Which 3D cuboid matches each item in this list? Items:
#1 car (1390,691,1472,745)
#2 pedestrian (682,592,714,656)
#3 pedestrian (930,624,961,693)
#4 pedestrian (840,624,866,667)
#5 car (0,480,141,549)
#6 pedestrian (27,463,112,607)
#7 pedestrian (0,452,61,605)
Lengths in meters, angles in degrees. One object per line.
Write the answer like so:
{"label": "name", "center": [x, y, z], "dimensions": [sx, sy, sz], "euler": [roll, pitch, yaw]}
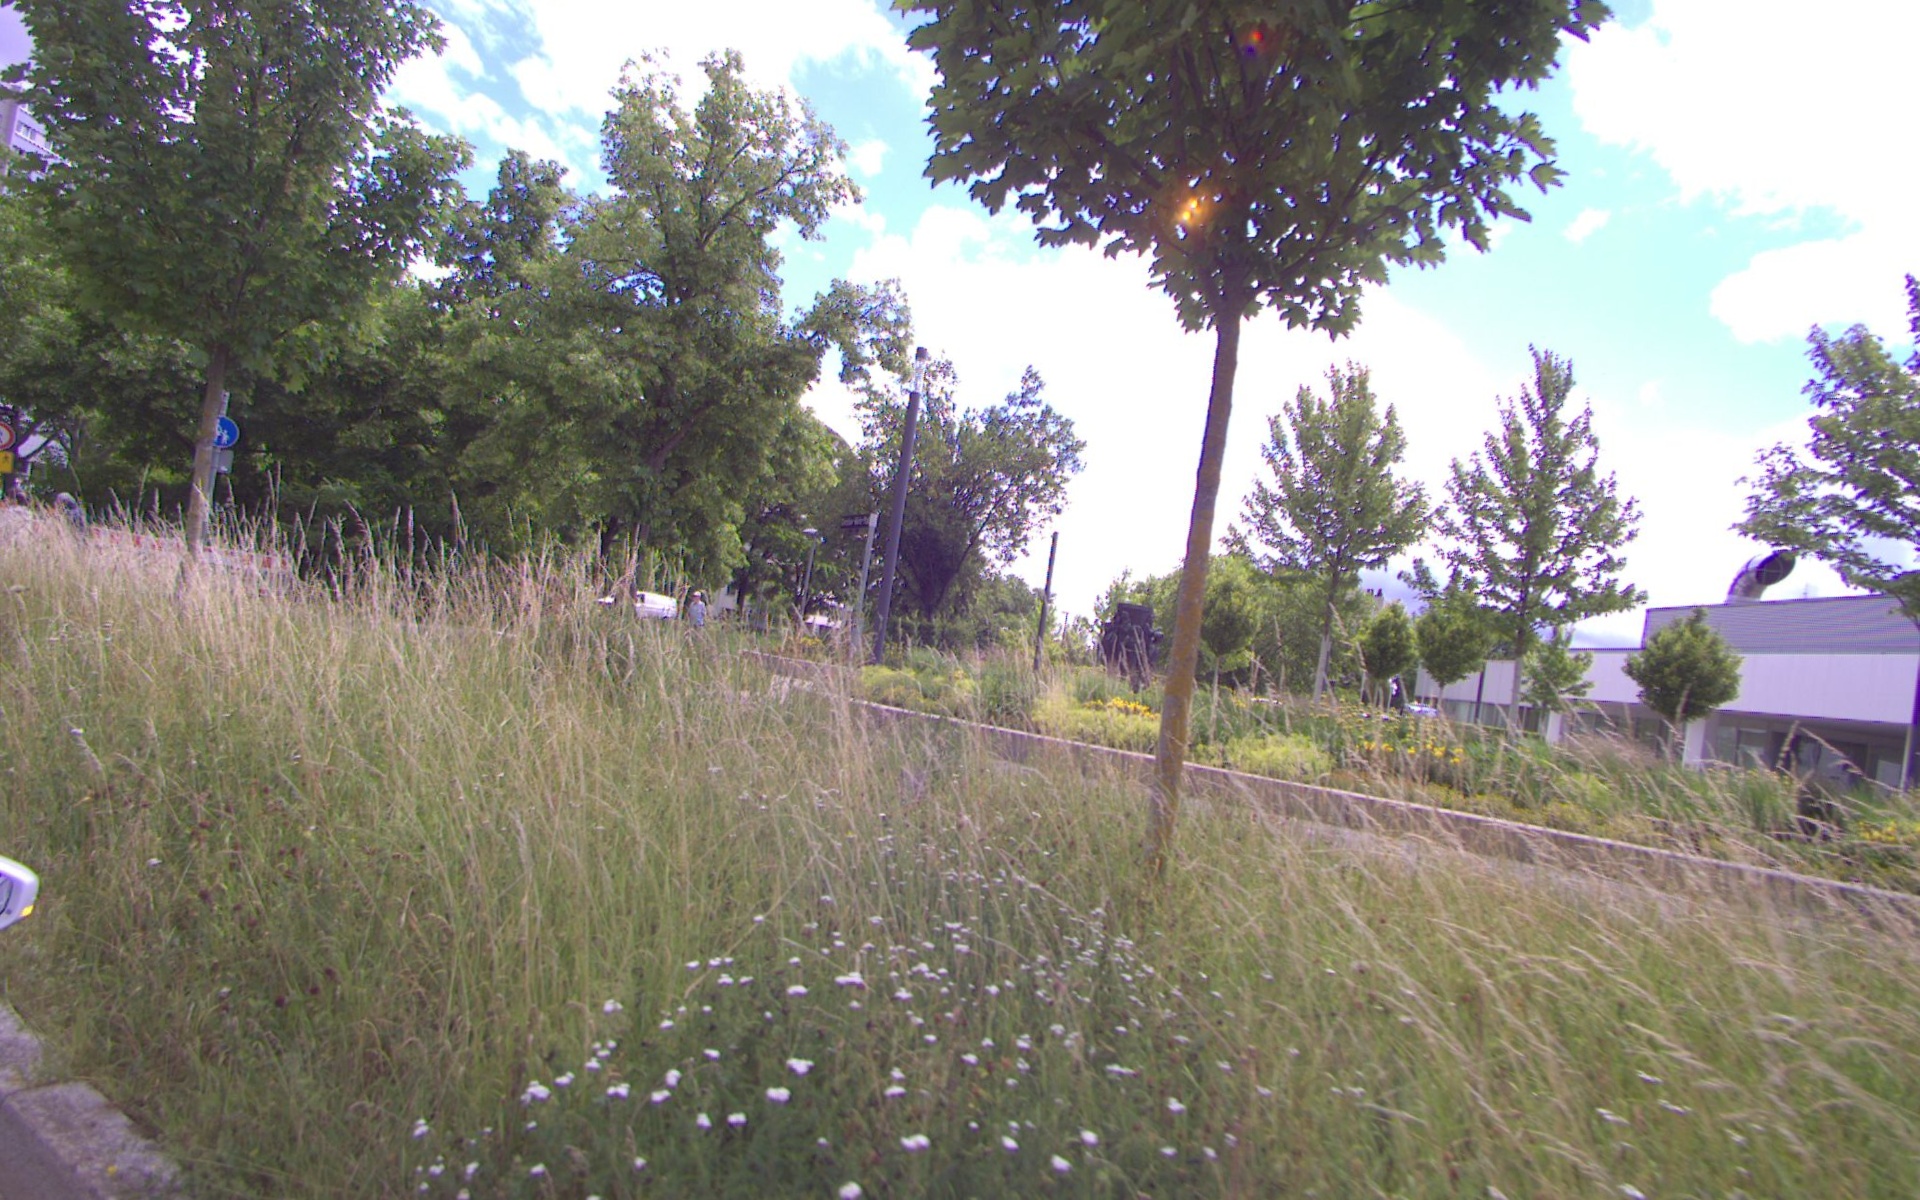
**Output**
{"label": "car", "center": [27.720, 6.903, 59.425], "dimensions": [2.406, 2.501, 4.793], "euler": [9, -2, 2]}
{"label": "pedestrian", "center": [-7.563, 0.697, 29.028], "dimensions": [0.567, 1.762, 0.488], "euler": [9, -1, -5]}
{"label": "pedestrian", "center": [-0.419, 1.732, 29.899], "dimensions": [0.399, 1.973, 0.577], "euler": [8, -2, 32]}
{"label": "pedestrian", "center": [-4.214, 1.808, 39.714], "dimensions": [0.636, 1.598, 0.488], "euler": [8, -1, 18]}
{"label": "car", "center": [-31.107, -2.959, 34.577], "dimensions": [1.966, 1.624, 3.998], "euler": [8, -3, 31]}
{"label": "pedestrian", "center": [-13.292, -0.957, 15.018], "dimensions": [0.483, 2.036, 0.563], "euler": [7, -2, 22]}
{"label": "pedestrian", "center": [-13.388, -1.012, 14.156], "dimensions": [0.623, 2.036, 0.674], "euler": [7, -2, 22]}
